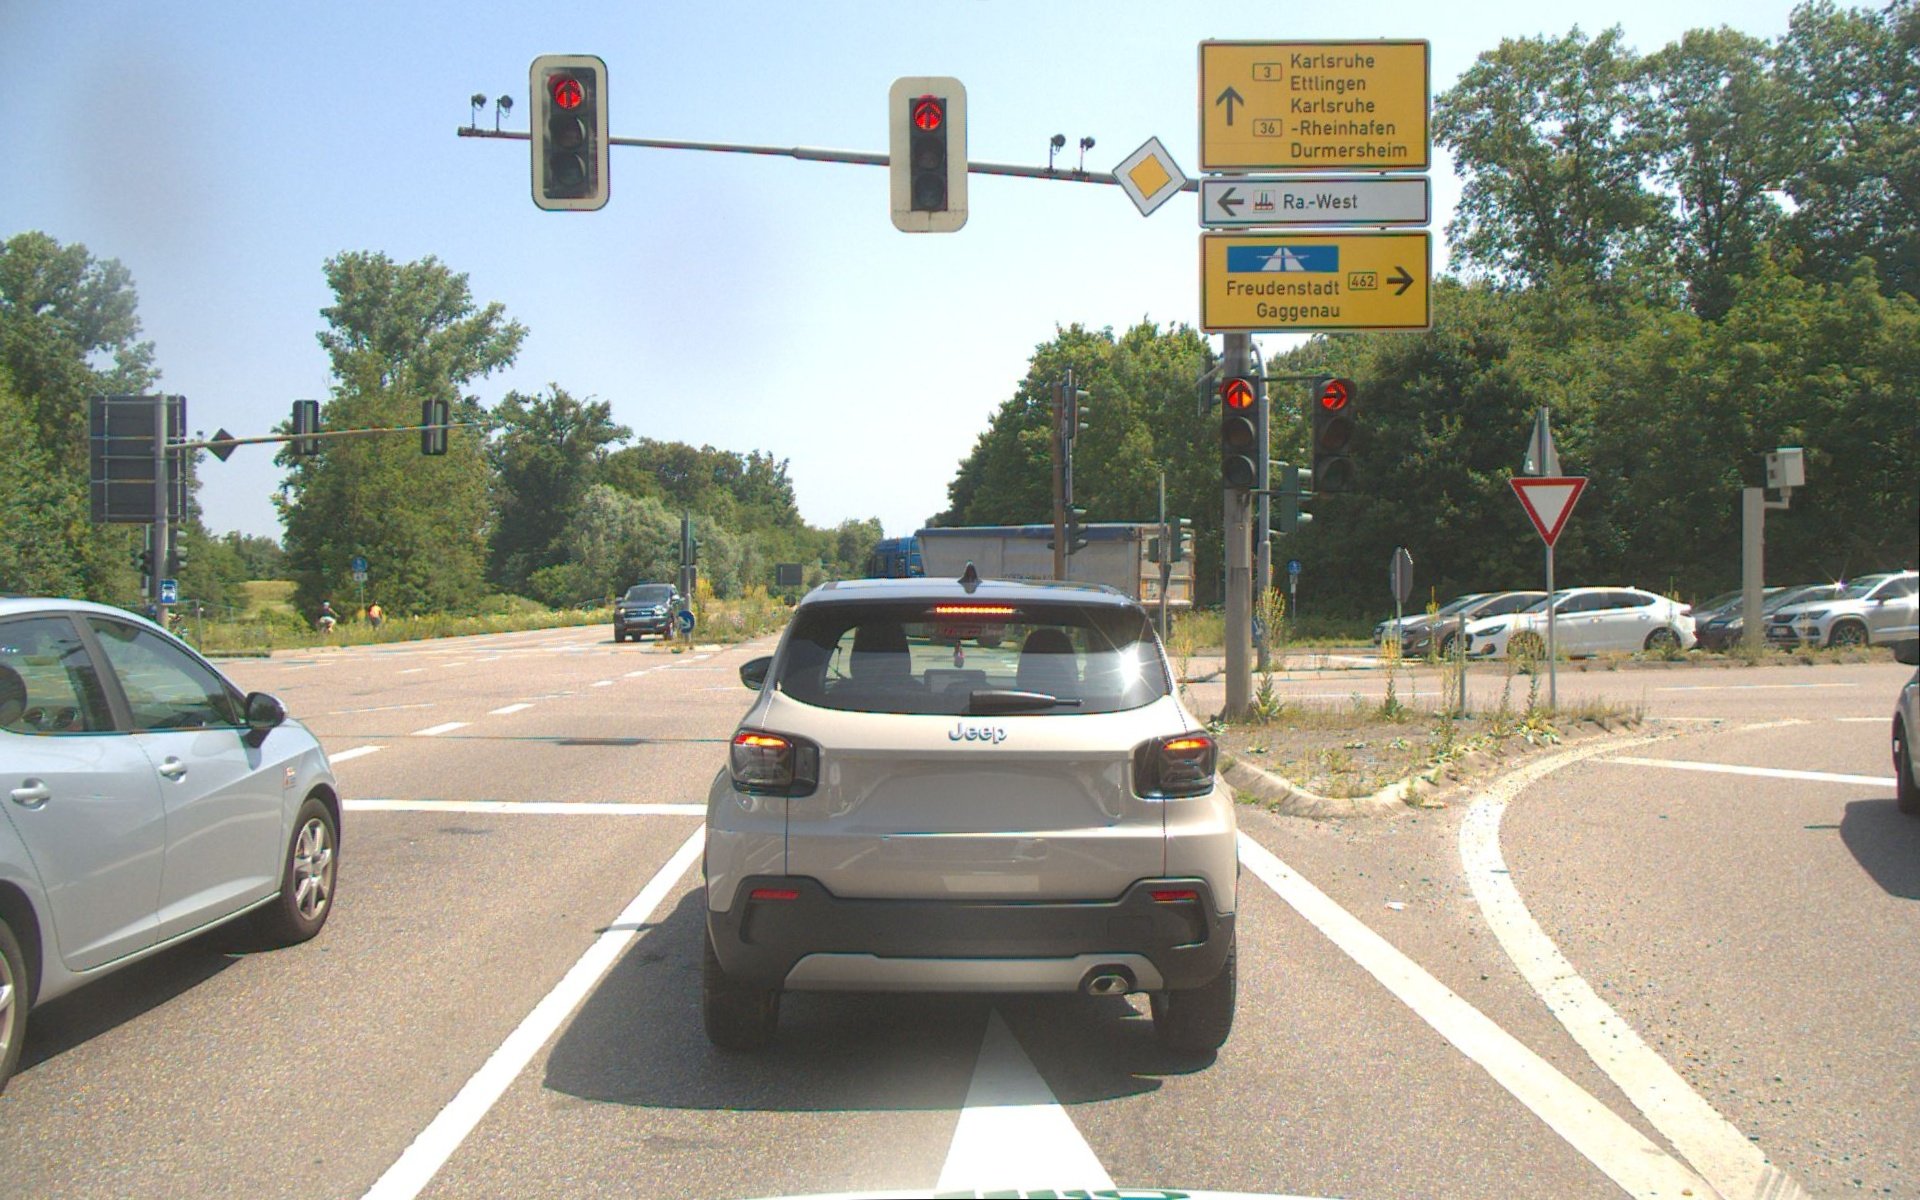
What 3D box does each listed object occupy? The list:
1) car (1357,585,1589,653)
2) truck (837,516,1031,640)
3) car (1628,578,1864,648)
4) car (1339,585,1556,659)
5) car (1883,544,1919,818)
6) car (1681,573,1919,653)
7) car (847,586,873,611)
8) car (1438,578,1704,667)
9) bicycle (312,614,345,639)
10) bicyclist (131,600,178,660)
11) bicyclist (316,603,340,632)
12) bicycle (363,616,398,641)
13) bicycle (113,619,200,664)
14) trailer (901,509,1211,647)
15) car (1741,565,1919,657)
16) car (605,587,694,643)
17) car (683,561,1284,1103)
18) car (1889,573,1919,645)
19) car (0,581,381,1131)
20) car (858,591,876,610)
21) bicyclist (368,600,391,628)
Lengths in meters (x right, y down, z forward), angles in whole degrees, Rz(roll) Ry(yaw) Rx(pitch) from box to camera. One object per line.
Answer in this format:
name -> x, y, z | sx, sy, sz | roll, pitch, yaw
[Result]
car -> 12.036, 0.440, 39.019 | 4.831, 1.525, 2.020 | -1, -1, -1
truck -> -0.986, -0.712, 57.664 | 3.317, 4.058, 6.430 | 1, -1, -43
car -> 18.389, 0.308, 38.828 | 4.523, 1.525, 2.111 | -1, -1, -2
car -> 10.378, 0.454, 35.378 | 4.011, 1.472, 1.994 | -1, 0, -4
car -> 6.909, 0.540, 10.020 | 1.720, 1.804, 4.113 | 0, 0, 21
car -> 17.937, 0.273, 35.106 | 4.330, 1.562, 2.121 | -1, -1, -2
car -> -8.197, -0.136, 135.969 | 1.953, 2.049, 4.553 | -1, 0, -1
car -> 11.588, 0.413, 31.563 | 4.331, 1.562, 1.999 | -1, 0, -3
bicycle -> -26.966, 1.130, 70.650 | 0.591, 1.023, 1.557 | -1, 0, 9
bicyclist -> -20.216, 0.748, 41.506 | 0.908, 1.485, 0.713 | -1, 0, 36
bicyclist -> -26.968, 0.762, 70.589 | 0.719, 1.216, 0.592 | -1, 0, 9
bicycle -> -25.433, 1.255, 72.604 | 0.661, 1.022, 1.802 | -1, 0, 8
bicycle -> -20.170, 1.030, 41.545 | 0.709, 1.082, 1.863 | -1, 0, 35
trailer -> 2.847, -0.664, 53.396 | 3.366, 4.058, 10.634 | 1, 0, -43
car -> 17.650, 0.186, 32.030 | 4.088, 1.688, 1.999 | -1, 0, -2
car -> -10.177, 0.467, 54.627 | 1.953, 1.707, 5.364 | -2, 0, -1
car -> 0.043, 0.665, 6.785 | 1.731, 1.561, 3.999 | 0, 0, -1
car -> 23.317, 0.136, 35.987 | 5.025, 1.560, 2.137 | -1, -1, -2
car -> -3.375, 0.669, 5.417 | 1.632, 1.455, 3.827 | 1, 0, -1
car -> -10.294, 0.054, 183.544 | 1.738, 2.049, 3.999 | 1, 0, -1
bicyclist -> -25.466, 0.619, 72.534 | 0.741, 1.216, 0.592 | -1, 0, 9
